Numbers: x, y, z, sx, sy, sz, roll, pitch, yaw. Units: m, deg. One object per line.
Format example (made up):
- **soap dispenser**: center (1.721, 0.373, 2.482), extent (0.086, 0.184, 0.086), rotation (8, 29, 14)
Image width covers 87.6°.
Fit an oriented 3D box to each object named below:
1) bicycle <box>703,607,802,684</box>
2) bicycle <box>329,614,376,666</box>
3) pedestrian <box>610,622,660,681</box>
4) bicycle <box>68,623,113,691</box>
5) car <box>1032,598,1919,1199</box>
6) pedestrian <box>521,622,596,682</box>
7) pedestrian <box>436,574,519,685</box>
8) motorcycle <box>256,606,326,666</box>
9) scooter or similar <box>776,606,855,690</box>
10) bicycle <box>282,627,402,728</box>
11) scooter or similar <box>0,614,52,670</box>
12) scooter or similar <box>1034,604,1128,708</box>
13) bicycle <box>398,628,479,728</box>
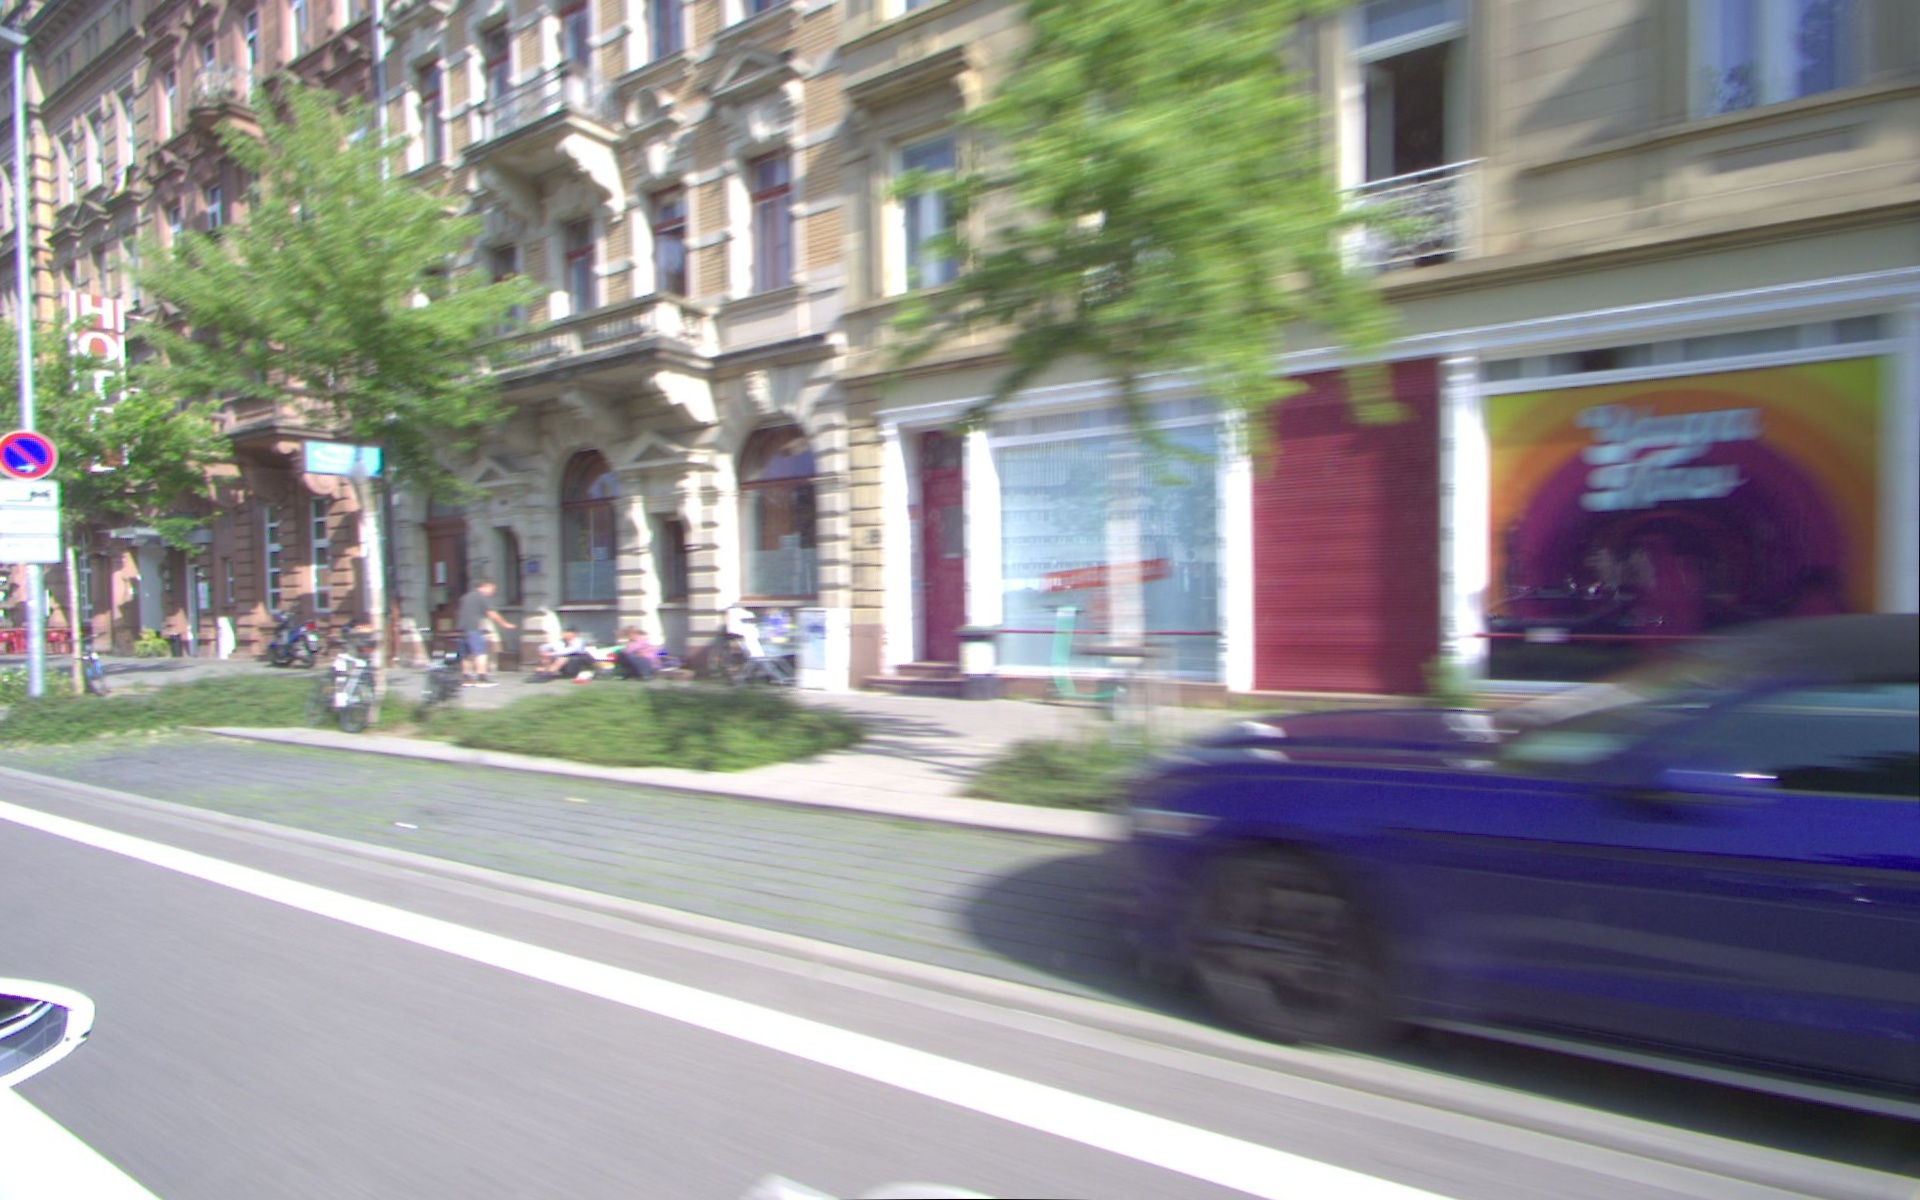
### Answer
- **bicycle**: center (-3.062, 0.654, 14.770), extent (1.424, 1.098, 0.451), rotation (0, 1, 23)
- **bicycle**: center (-12.426, 0.804, 20.461), extent (1.239, 1.032, 0.395), rotation (-1, 1, 38)
- **pedestrian**: center (-5.089, 0.791, 15.688), extent (0.450, 0.867, 0.569), rotation (0, 3, 27)
- **bicycle**: center (-15.304, 0.971, 17.615), extent (0.501, 1.075, 1.697), rotation (-4, 3, -42)
- **car**: center (2.687, 0.729, 3.205), extent (4.648, 1.415, 1.732), rotation (0, 2, 33)
- **pedestrian**: center (-6.586, 0.836, 16.442), extent (0.700, 0.889, 0.876), rotation (0, 3, 29)
- **pedestrian**: center (-7.746, 0.452, 16.094), extent (0.781, 1.720, 0.821), rotation (0, 3, 28)
- **motorcycle**: center (-14.050, 0.739, 21.017), extent (1.918, 1.192, 0.462), rotation (-1, 3, 33)
- **scooter or similar**: center (-2.039, 0.661, 14.125), extent (0.918, 1.140, 0.605), rotation (0, 1, 33)
- **bicycle**: center (-7.413, 0.893, 11.983), extent (1.801, 1.108, 0.491), rotation (0, 1, 33)
- **scooter or similar**: center (-20.744, 0.924, 21.873), extent (0.335, 1.173, 1.251), rotation (0, 3, 36)
- **scooter or similar**: center (1.376, 0.618, 11.461), extent (1.075, 1.149, 0.287), rotation (0, 1, 39)
- **bicycle**: center (-6.282, 0.893, 12.138), extent (0.447, 1.096, 1.875), rotation (-2, -1, -15)
